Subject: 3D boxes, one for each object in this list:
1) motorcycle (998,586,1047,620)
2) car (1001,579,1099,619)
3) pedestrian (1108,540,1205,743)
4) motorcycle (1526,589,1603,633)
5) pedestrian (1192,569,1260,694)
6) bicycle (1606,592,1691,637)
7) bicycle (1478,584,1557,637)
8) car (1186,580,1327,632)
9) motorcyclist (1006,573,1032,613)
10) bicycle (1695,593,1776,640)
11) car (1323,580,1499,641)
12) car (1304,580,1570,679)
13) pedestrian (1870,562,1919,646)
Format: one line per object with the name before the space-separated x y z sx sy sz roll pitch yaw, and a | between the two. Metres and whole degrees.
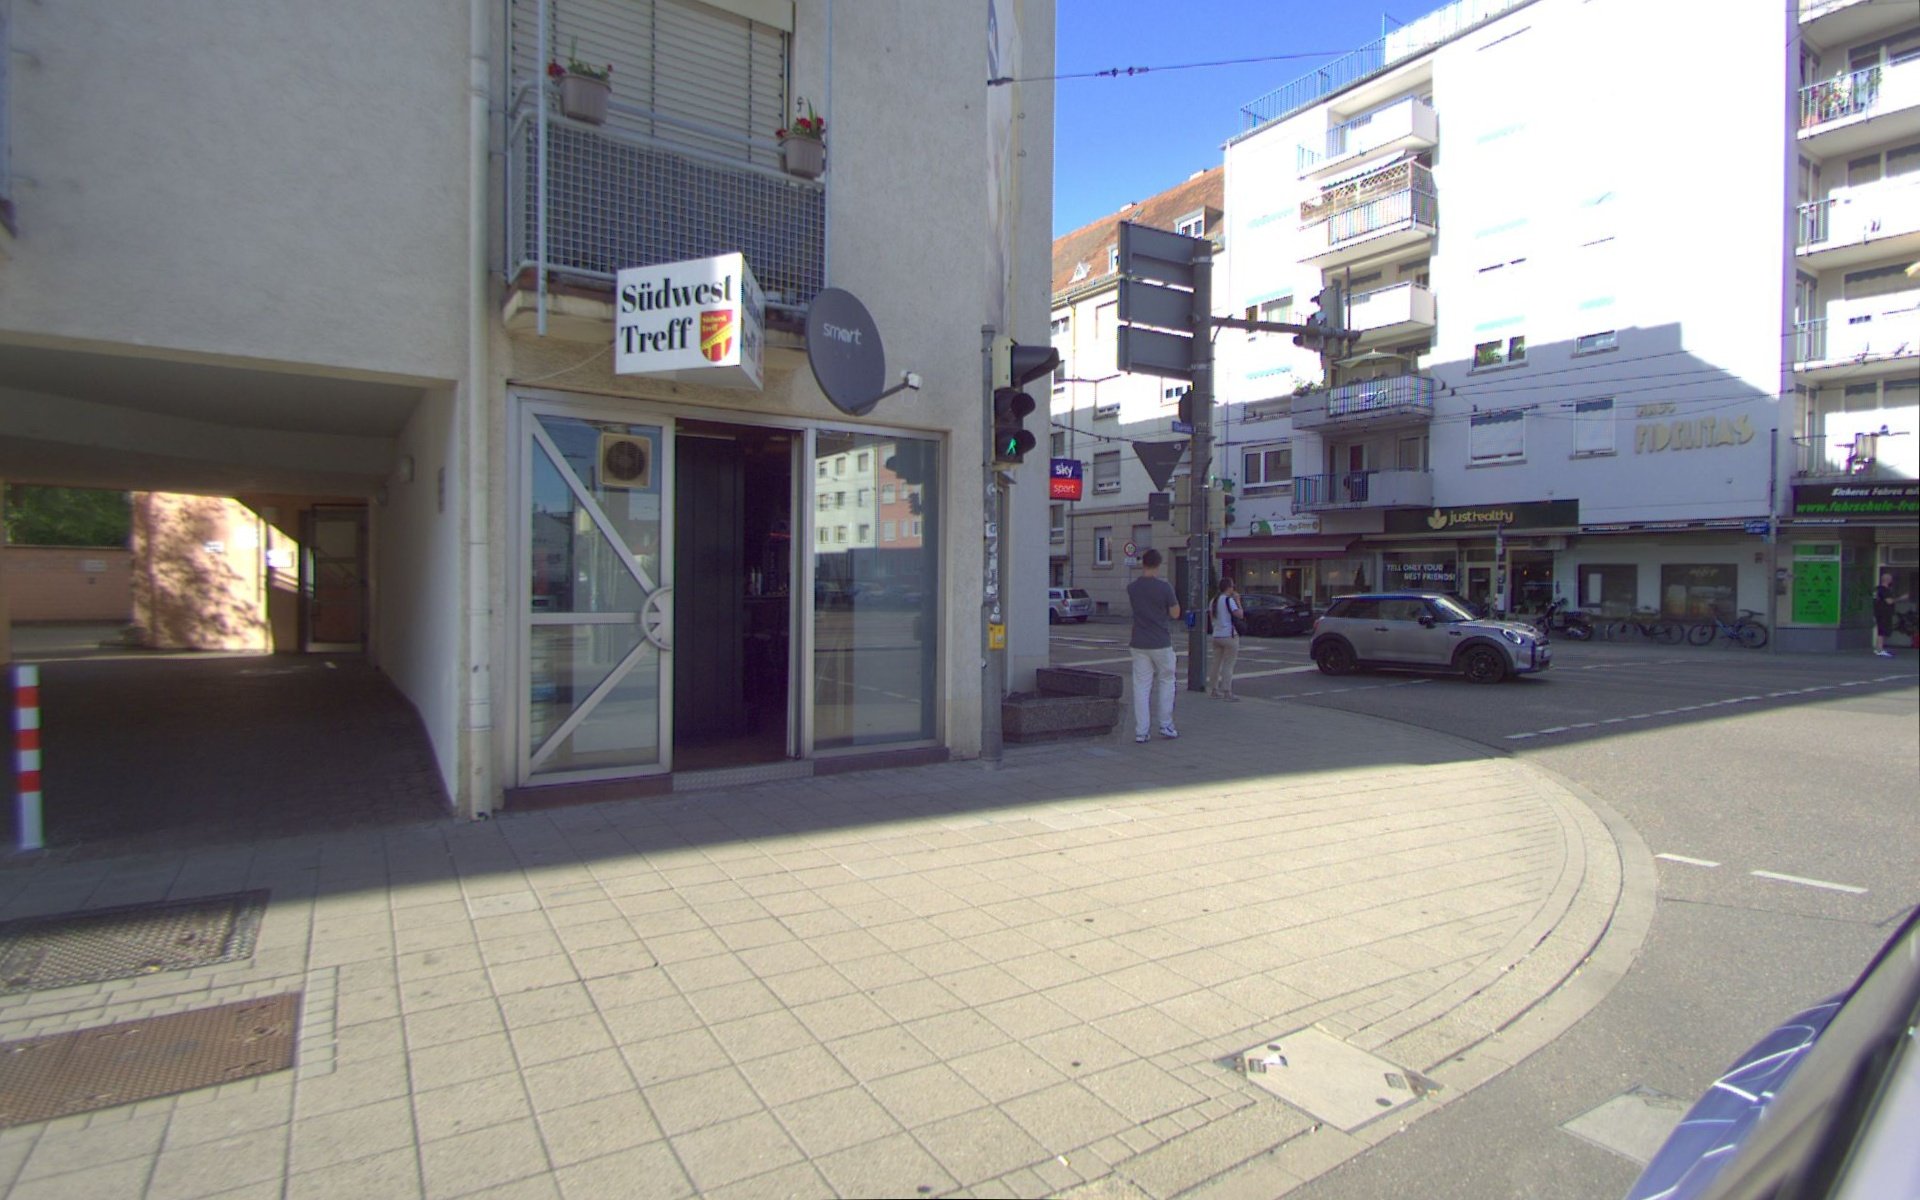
motorcycle | 2.356 0.091 38.311 0.701 1.235 1.964 0 1 -38
car | 3.708 -0.087 42.573 1.698 1.472 4.372 -4 4 -35
pedestrian | 1.852 0.338 9.450 0.679 1.764 1.035 2 2 21
motorcycle | 17.117 0.289 28.698 0.597 1.148 1.798 -3 3 -34
pedestrian | 3.660 0.413 13.960 0.530 1.643 0.734 5 1 -9
bicycle | 18.481 0.370 27.192 0.597 1.101 1.798 -3 3 -34
bicycle | 15.063 0.269 27.377 0.597 1.330 1.798 -2 3 -34
car | 9.710 0.131 33.463 1.741 1.492 4.448 -3 3 -33
motorcyclist | 2.245 -0.281 38.456 0.683 1.515 0.684 0 0 -38
bicycle | 19.708 0.400 25.741 0.542 1.119 1.540 -2 3 -31
car | 12.639 0.240 28.606 1.742 1.522 4.237 -3 3 -35
car | 8.108 0.421 17.388 3.805 1.442 1.702 1 3 45
pedestrian | 21.952 0.083 23.644 0.563 1.923 0.741 0 3 -16
